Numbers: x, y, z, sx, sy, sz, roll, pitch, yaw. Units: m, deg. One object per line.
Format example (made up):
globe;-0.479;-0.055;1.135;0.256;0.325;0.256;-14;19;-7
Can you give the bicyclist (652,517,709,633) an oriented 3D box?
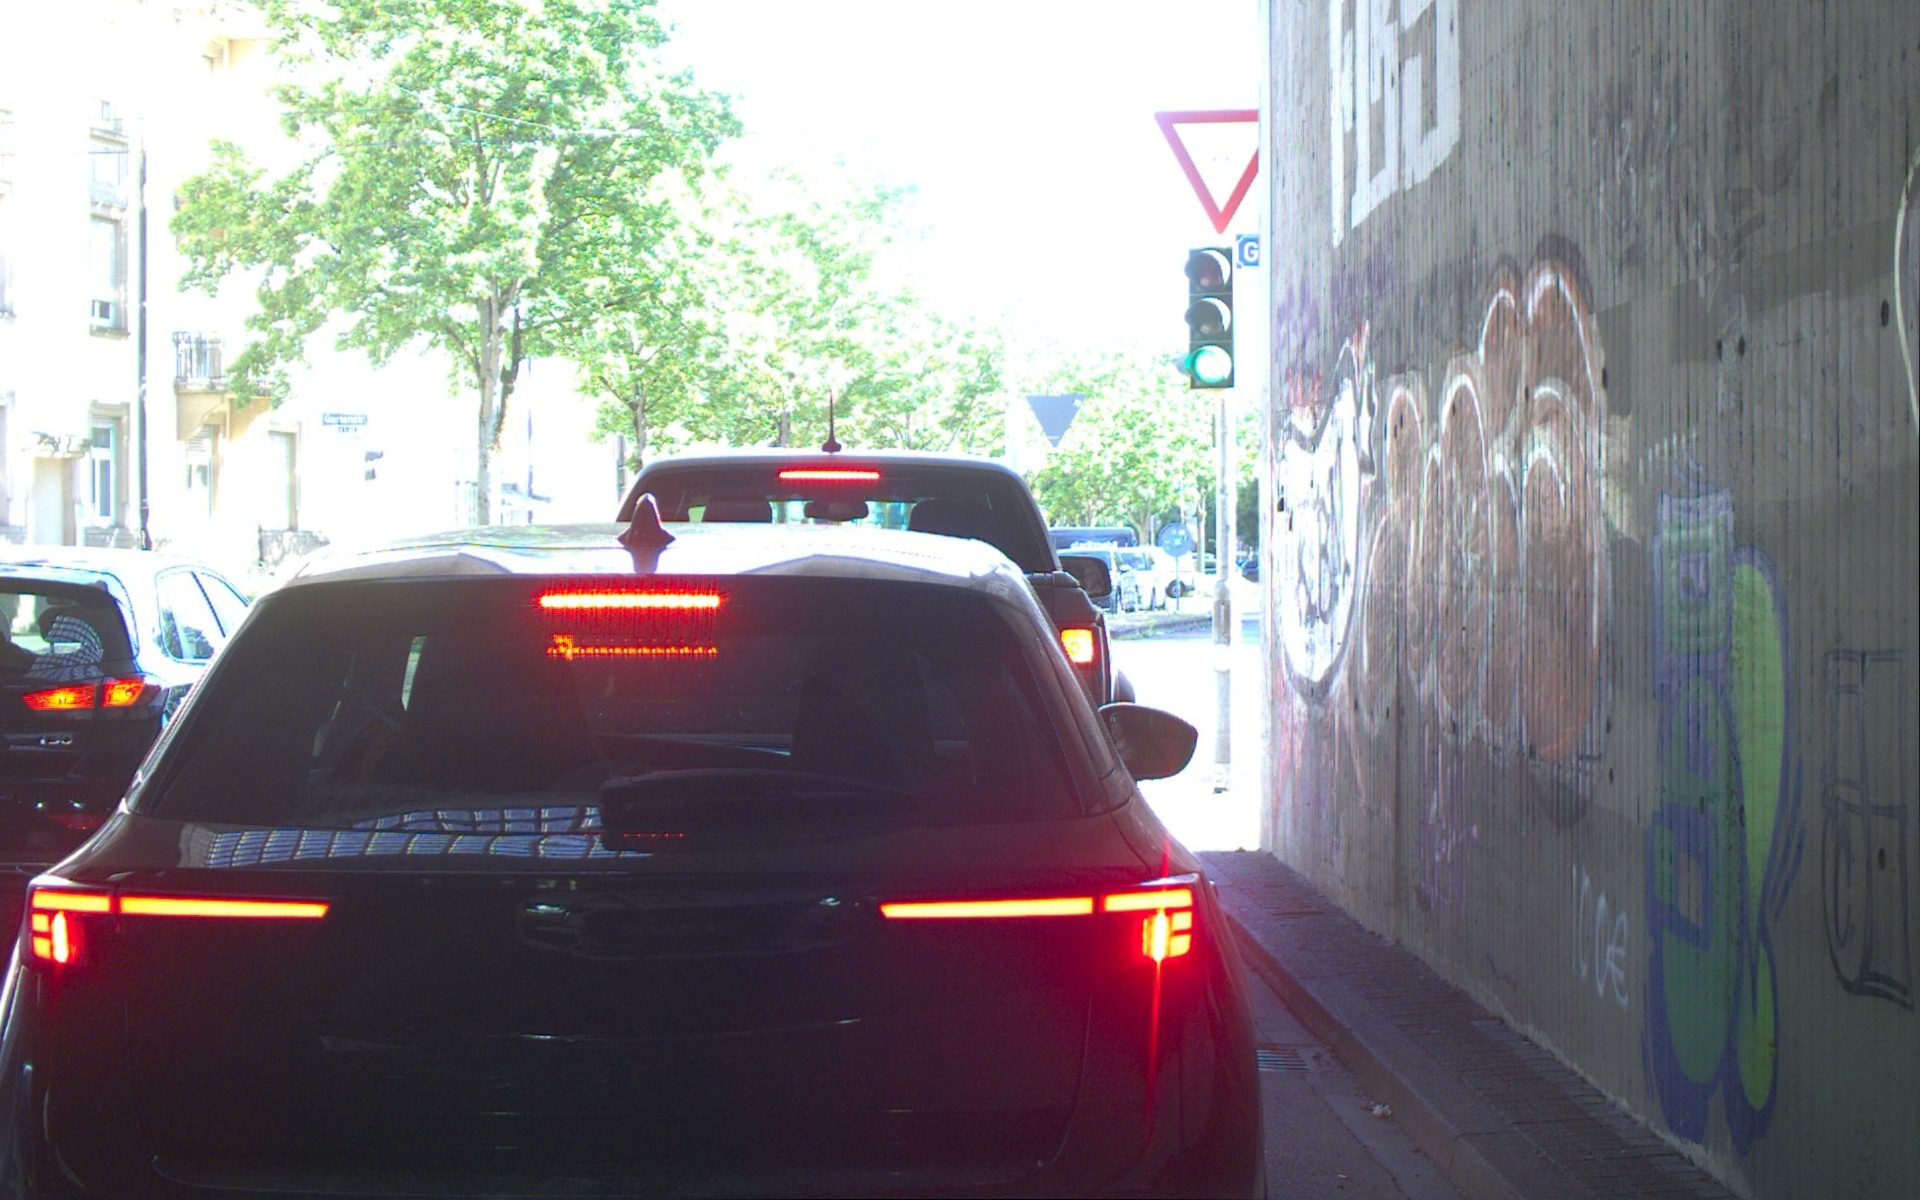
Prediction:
bicyclist;-4.196;-0.382;51.670;0.745;1.705;0.967;0;3;2

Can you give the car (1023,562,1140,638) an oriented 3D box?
car;2.442;-0.020;68.285;1.708;1.447;3.849;0;1;12

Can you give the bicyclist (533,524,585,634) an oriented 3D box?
bicyclist;-5.986;-0.326;51.342;0.606;1.627;0.910;0;1;4

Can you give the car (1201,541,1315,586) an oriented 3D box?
car;13.955;-1.710;161.109;4.882;2.076;1.986;-1;0;-14

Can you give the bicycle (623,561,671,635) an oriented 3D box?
bicycle;-4.928;-0.045;54.244;0.541;1.119;2.058;0;1;1

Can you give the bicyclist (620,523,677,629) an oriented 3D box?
bicyclist;-4.925;-0.382;54.328;0.782;1.654;1.031;0;1;1

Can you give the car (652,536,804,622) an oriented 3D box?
car;-3.982;-0.382;59.560;1.658;1.436;3.461;0;1;14

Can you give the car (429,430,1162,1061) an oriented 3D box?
car;-0.600;0.377;12.522;2.133;1.829;4.941;0;1;-3

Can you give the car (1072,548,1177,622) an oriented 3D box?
car;3.623;-0.340;75.041;1.705;1.507;3.861;-2;1;11

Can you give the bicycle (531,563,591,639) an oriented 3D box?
bicycle;-5.957;0.005;51.401;0.525;1.086;1.860;0;1;5

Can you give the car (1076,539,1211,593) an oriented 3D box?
car;7.162;-1.324;134.201;4.883;2.076;1.986;-1;0;-25

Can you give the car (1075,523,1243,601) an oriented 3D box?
car;6.711;-1.289;116.095;5.259;2.537;1.986;-1;0;-15

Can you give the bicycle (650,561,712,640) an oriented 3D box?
bicycle;-4.191;0.001;51.691;0.698;1.086;1.860;0;3;3

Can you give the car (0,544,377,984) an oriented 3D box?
car;-3.554;0.513;13.548;1.801;1.446;4.326;0;1;0

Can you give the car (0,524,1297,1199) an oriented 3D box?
car;-0.510;0.636;6.051;1.781;1.512;3.756;1;1;-1
